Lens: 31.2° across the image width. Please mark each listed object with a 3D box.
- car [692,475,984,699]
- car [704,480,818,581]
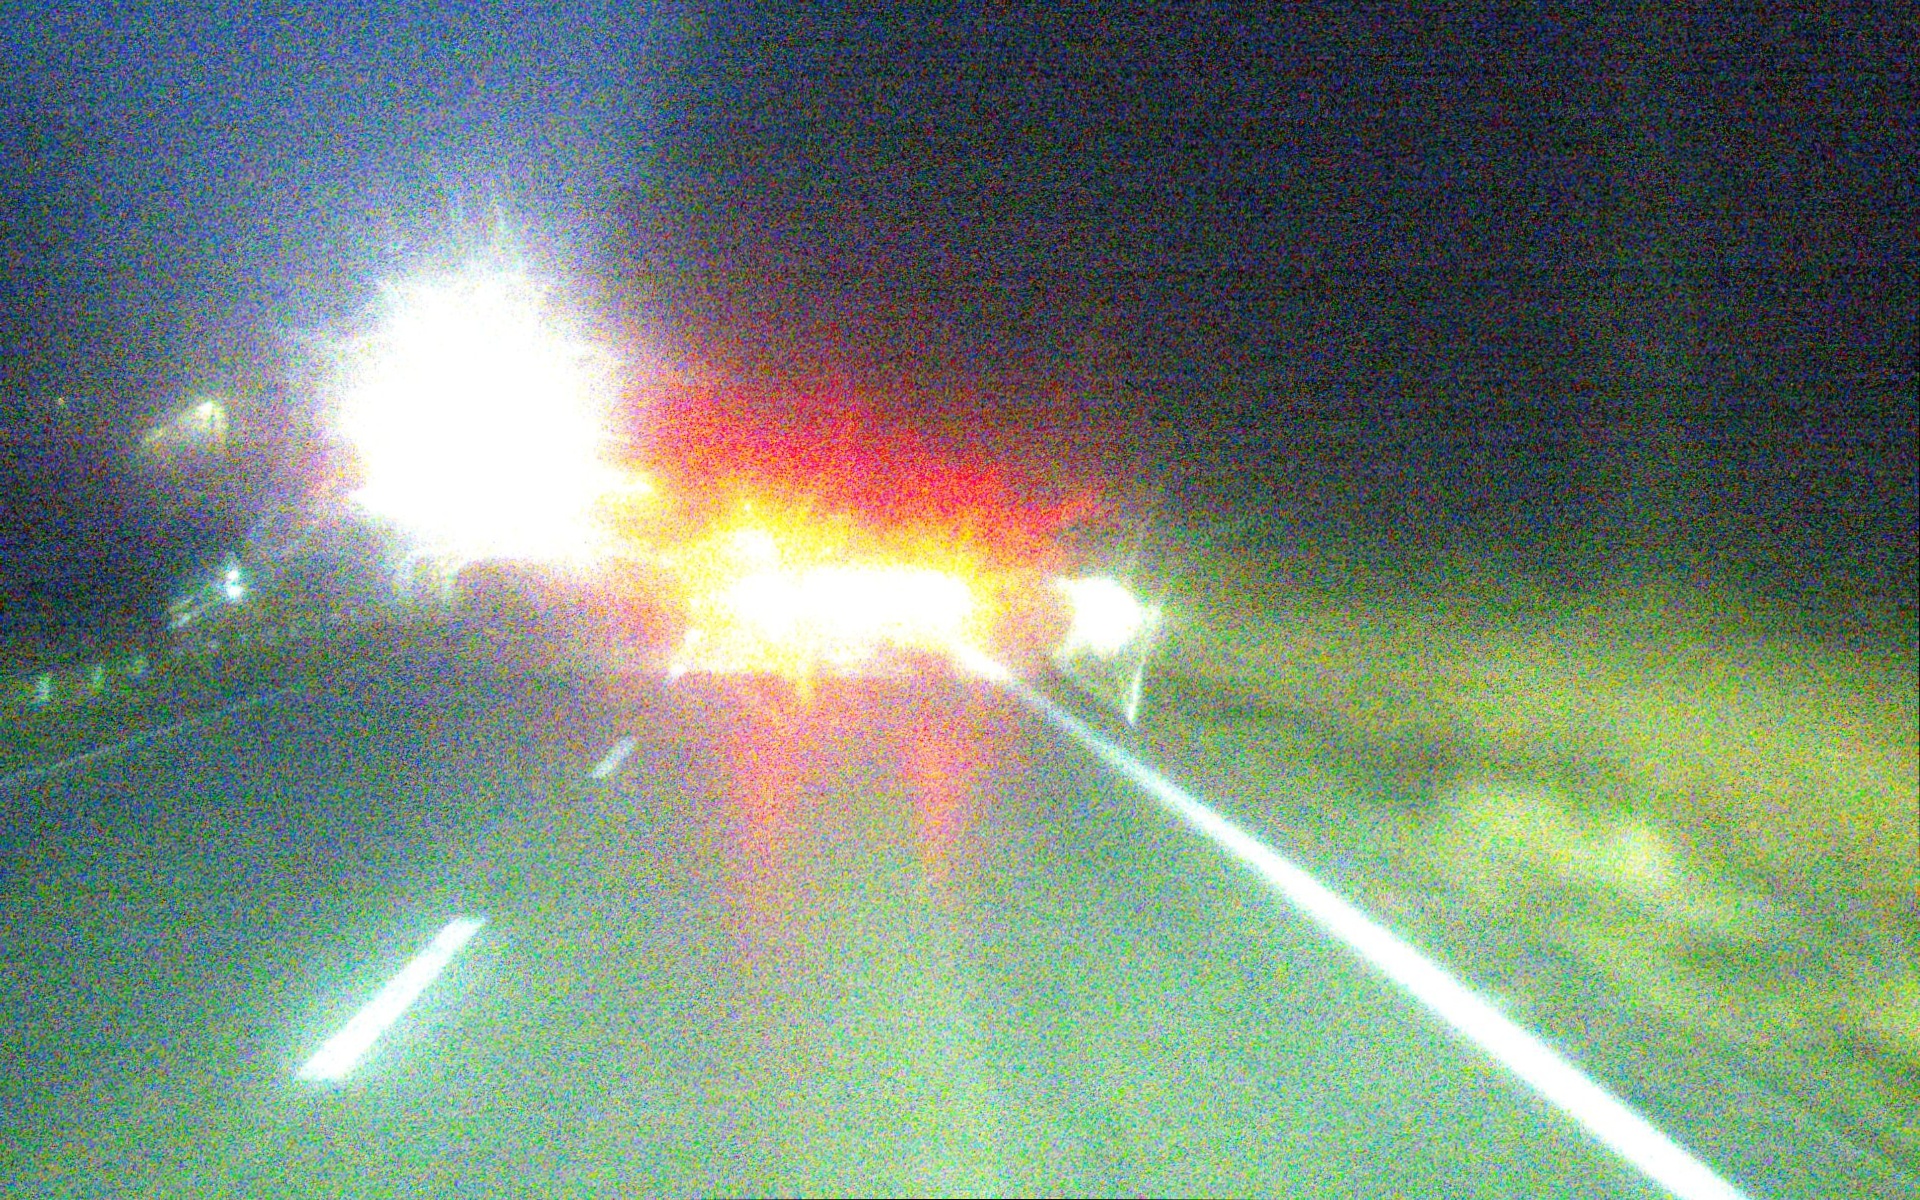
[{"bbox_3d":[-1.048,-0.156,32.548,2.458,1.952,4.911,0,1,1],"label":"car"},{"bbox_3d":[-4.089,-1.428,70.101,1.993,2.007,4.001,0,1,-8],"label":"car"}]
